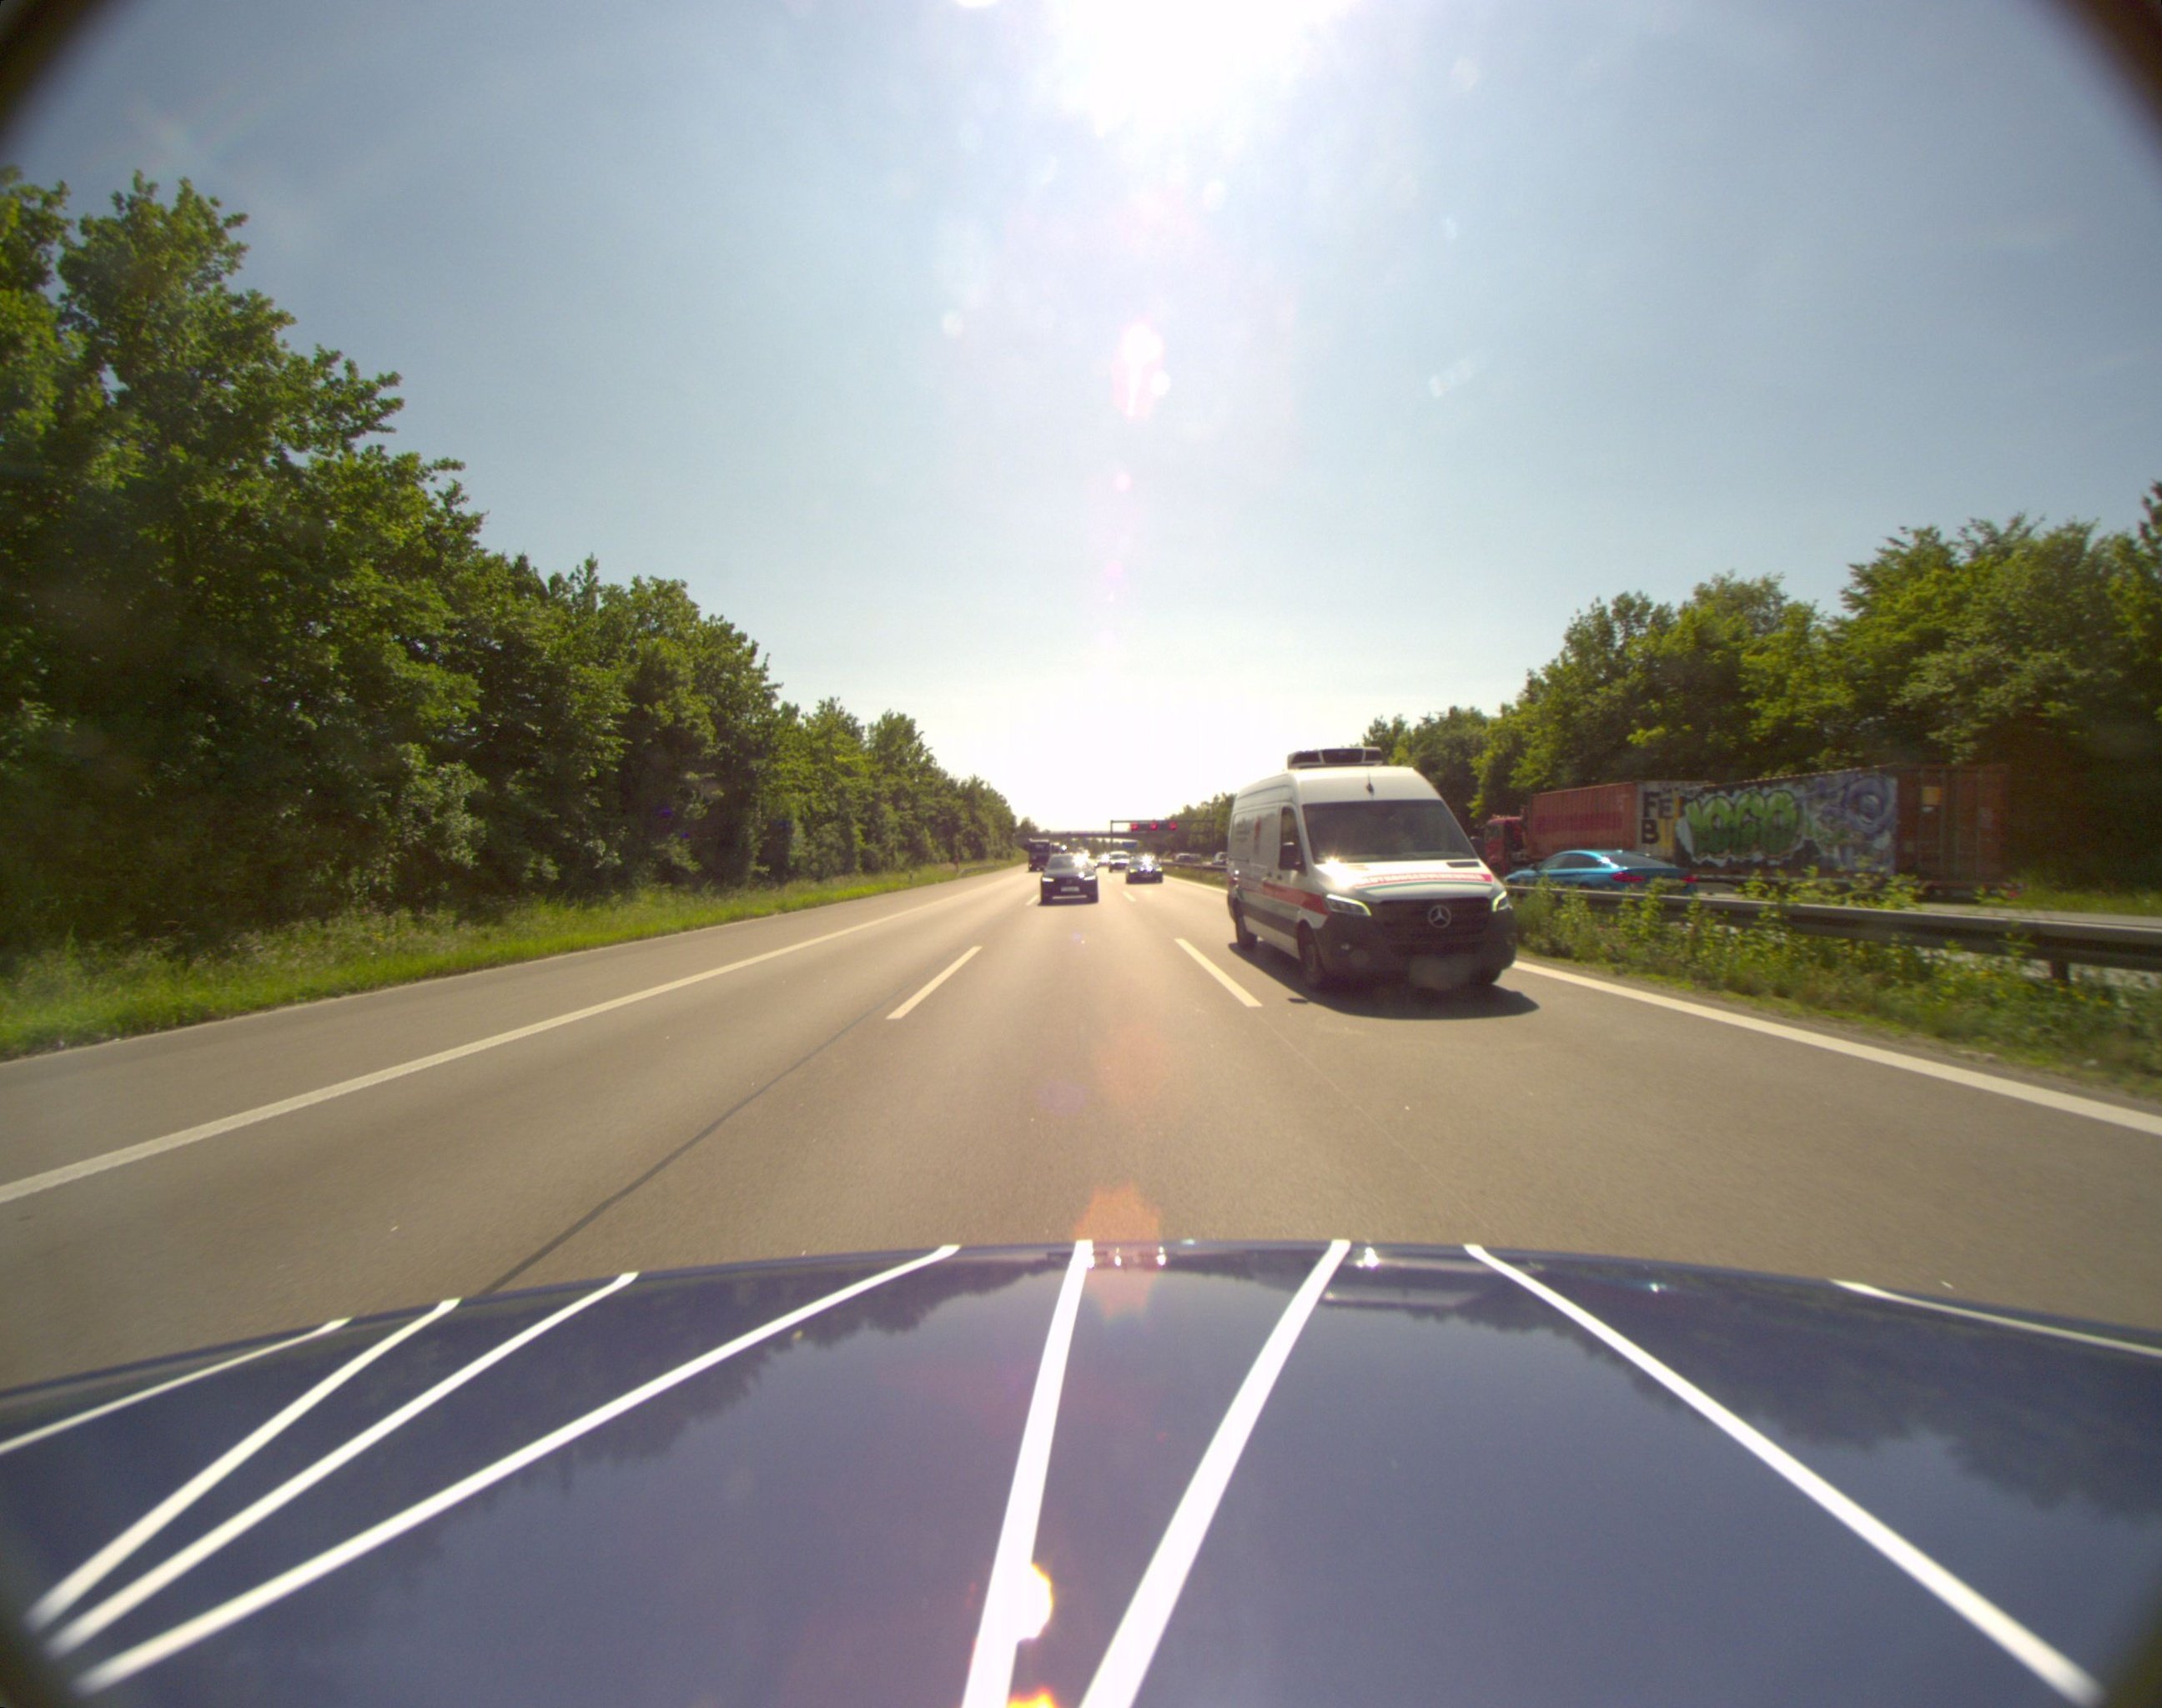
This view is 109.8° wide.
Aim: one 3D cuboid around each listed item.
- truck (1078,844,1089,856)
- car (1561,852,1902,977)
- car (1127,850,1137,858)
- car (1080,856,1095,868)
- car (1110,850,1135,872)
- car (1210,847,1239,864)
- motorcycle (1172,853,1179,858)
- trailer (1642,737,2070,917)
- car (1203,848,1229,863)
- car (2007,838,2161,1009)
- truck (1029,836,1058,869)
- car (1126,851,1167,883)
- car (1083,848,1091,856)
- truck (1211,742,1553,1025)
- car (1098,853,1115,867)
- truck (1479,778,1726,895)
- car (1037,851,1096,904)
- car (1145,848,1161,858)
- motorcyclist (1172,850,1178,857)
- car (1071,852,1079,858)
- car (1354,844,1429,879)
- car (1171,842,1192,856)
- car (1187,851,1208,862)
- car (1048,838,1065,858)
[{"bbox_3d":[0.719,-1.195,242.224,3.243,3.684,10.933,-1,1,-1],"label":"truck"},{"bbox_3d":[11.378,0.900,13.928,1.999,1.854,4.897,-1,0,-1],"label":"car"},{"bbox_3d":[11.257,-0.007,166.739,1.694,1.871,5.017,-1,0,-2],"label":"car"},{"bbox_3d":[0.887,1.088,104.203,1.742,1.630,3.845,0,1,4],"label":"car"},{"bbox_3d":[3.591,0.595,66.658,1.870,1.713,3.979,-1,1,-1],"label":"car"},{"bbox_3d":[11.928,0.137,63.236,1.672,1.309,4.120,-1,0,1],"label":"car"},{"bbox_3d":[17.482,0.241,140.716,0.937,1.012,2.654,-1,0,-1],"label":"motorcycle"},{"bbox_3d":[19.247,-0.571,20.030,2.686,3.747,8.406,0,0,0],"label":"trailer"},{"bbox_3d":[15.201,0.190,85.673,1.999,1.620,4.574,-1,0,0],"label":"car"},{"bbox_3d":[10.751,0.627,5.605,1.837,1.556,4.956,-1,0,1],"label":"car"},{"bbox_3d":[-4.015,-0.181,83.494,2.965,3.388,8.045,0,1,-1],"label":"truck"},{"bbox_3d":[3.465,0.654,41.050,1.904,1.616,4.240,-2,0,1],"label":"car"},{"bbox_3d":[1.536,-0.576,197.047,1.998,2.002,4.345,-1,0,1],"label":"car"},{"bbox_3d":[3.352,0.262,10.360,1.998,2.527,6.691,-3,0,1],"label":"truck"},{"bbox_3d":[3.041,0.681,92.557,1.998,1.540,3.999,-1,1,1],"label":"car"},{"bbox_3d":[19.265,-0.567,29.235,2.686,3.747,9.918,0,0,0],"label":"truck"},{"bbox_3d":[-0.427,0.763,26.515,1.812,1.648,4.000,-2,0,1],"label":"car"},{"bbox_3d":[11.138,-0.111,118.460,1.999,1.466,4.830,-1,0,0],"label":"car"},{"bbox_3d":[17.452,-0.105,140.661,0.943,1.435,1.356,-1,1,-2],"label":"motorcyclist"},{"bbox_3d":[-1.627,0.295,210.800,1.998,1.765,4.236,-1,0,1],"label":"car"},{"bbox_3d":[15.745,0.349,38.762,1.999,1.680,4.264,-1,0,-1],"label":"car"},{"bbox_3d":[11.600,-0.590,87.740,1.959,1.474,4.345,-1,0,1],"label":"car"},{"bbox_3d":[15.947,0.283,104.377,1.999,1.466,5.622,-1,0,0],"label":"car"},{"bbox_3d":[-4.973,-1.153,156.442,3.203,3.997,8.124,0,1,-1],"label":"car"}]
